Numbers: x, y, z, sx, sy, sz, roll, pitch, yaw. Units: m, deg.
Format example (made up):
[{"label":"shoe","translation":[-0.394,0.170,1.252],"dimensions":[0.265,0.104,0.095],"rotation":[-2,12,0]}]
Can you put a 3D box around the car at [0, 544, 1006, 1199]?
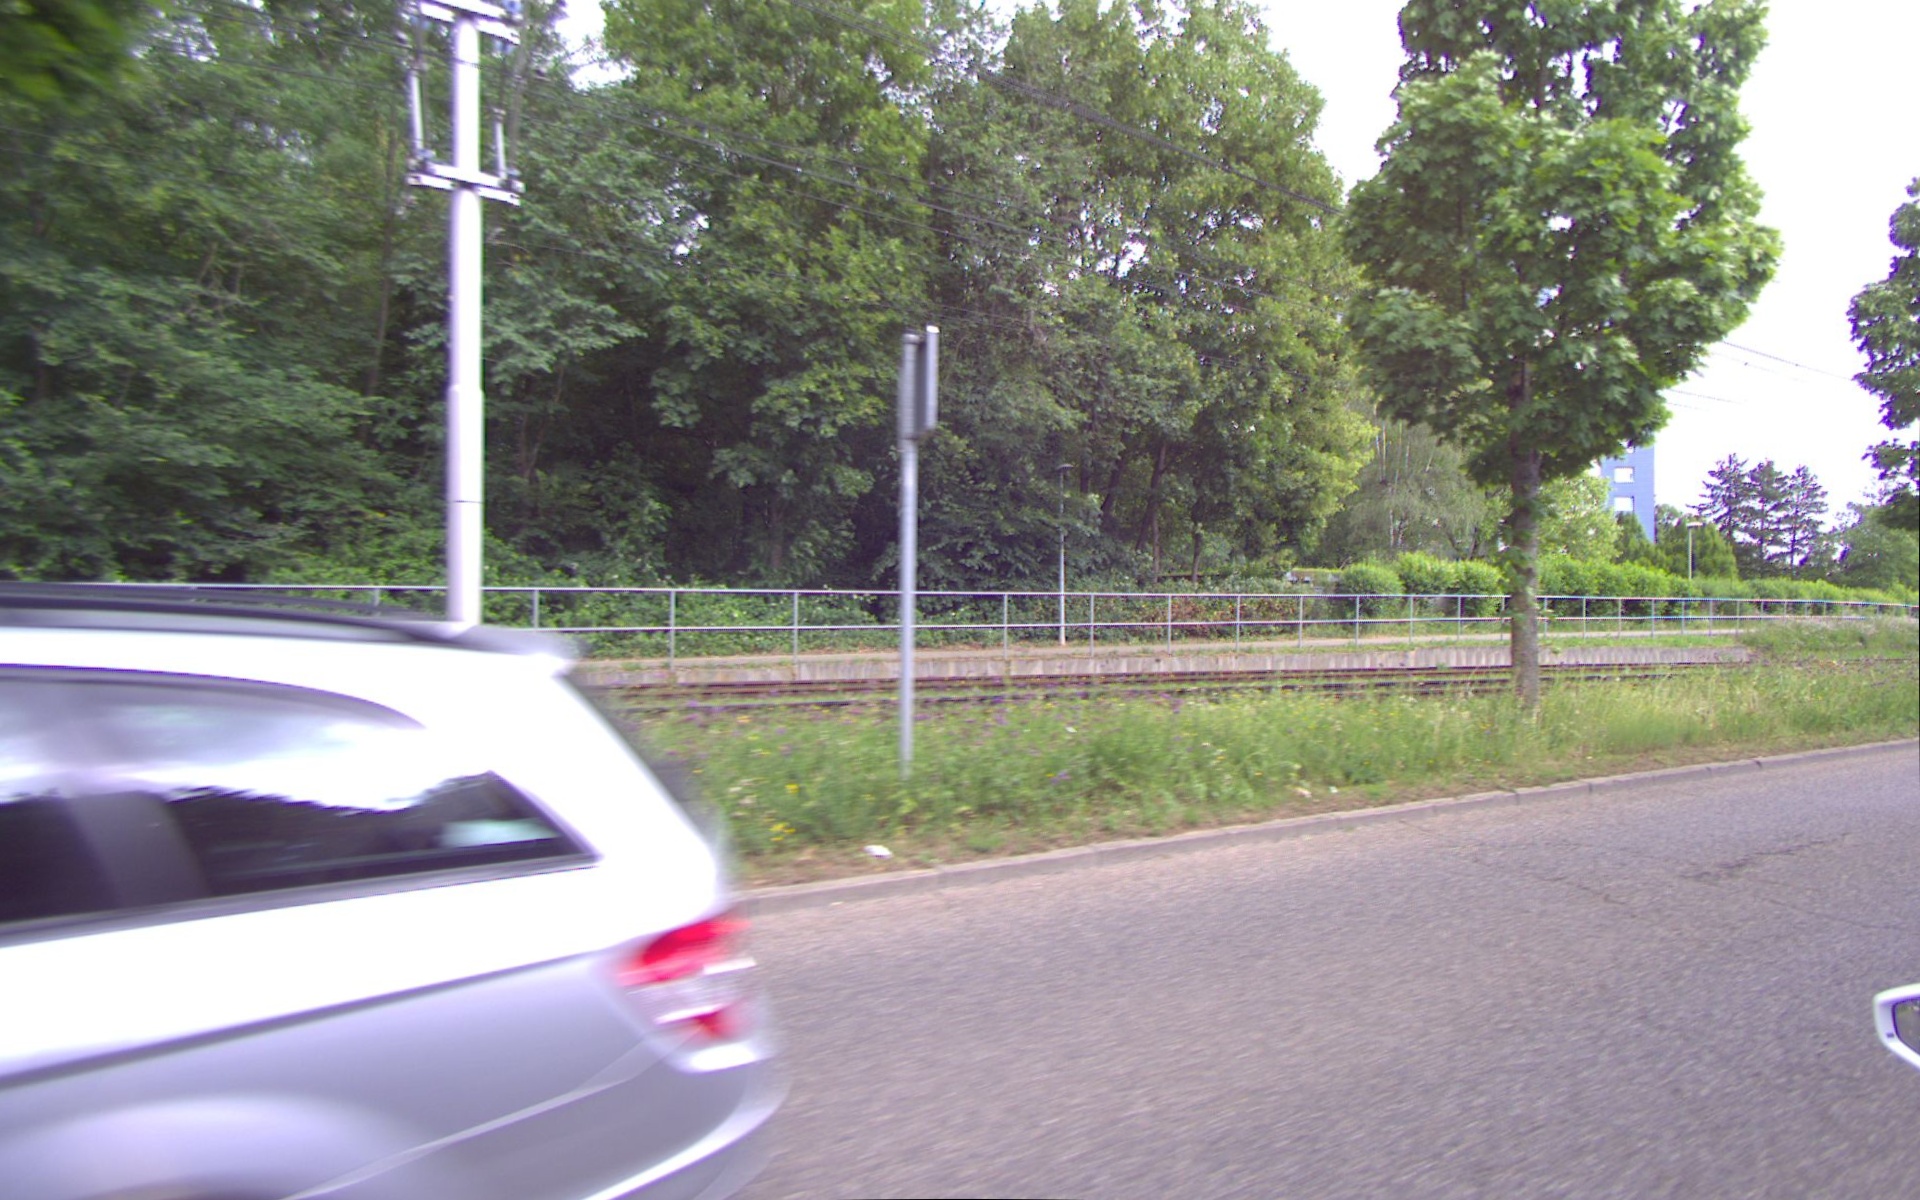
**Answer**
[{"label":"car","translation":[-2.165,0.662,1.592],"dimensions":[4.191,1.488,1.766],"rotation":[1,0,-30]}]
